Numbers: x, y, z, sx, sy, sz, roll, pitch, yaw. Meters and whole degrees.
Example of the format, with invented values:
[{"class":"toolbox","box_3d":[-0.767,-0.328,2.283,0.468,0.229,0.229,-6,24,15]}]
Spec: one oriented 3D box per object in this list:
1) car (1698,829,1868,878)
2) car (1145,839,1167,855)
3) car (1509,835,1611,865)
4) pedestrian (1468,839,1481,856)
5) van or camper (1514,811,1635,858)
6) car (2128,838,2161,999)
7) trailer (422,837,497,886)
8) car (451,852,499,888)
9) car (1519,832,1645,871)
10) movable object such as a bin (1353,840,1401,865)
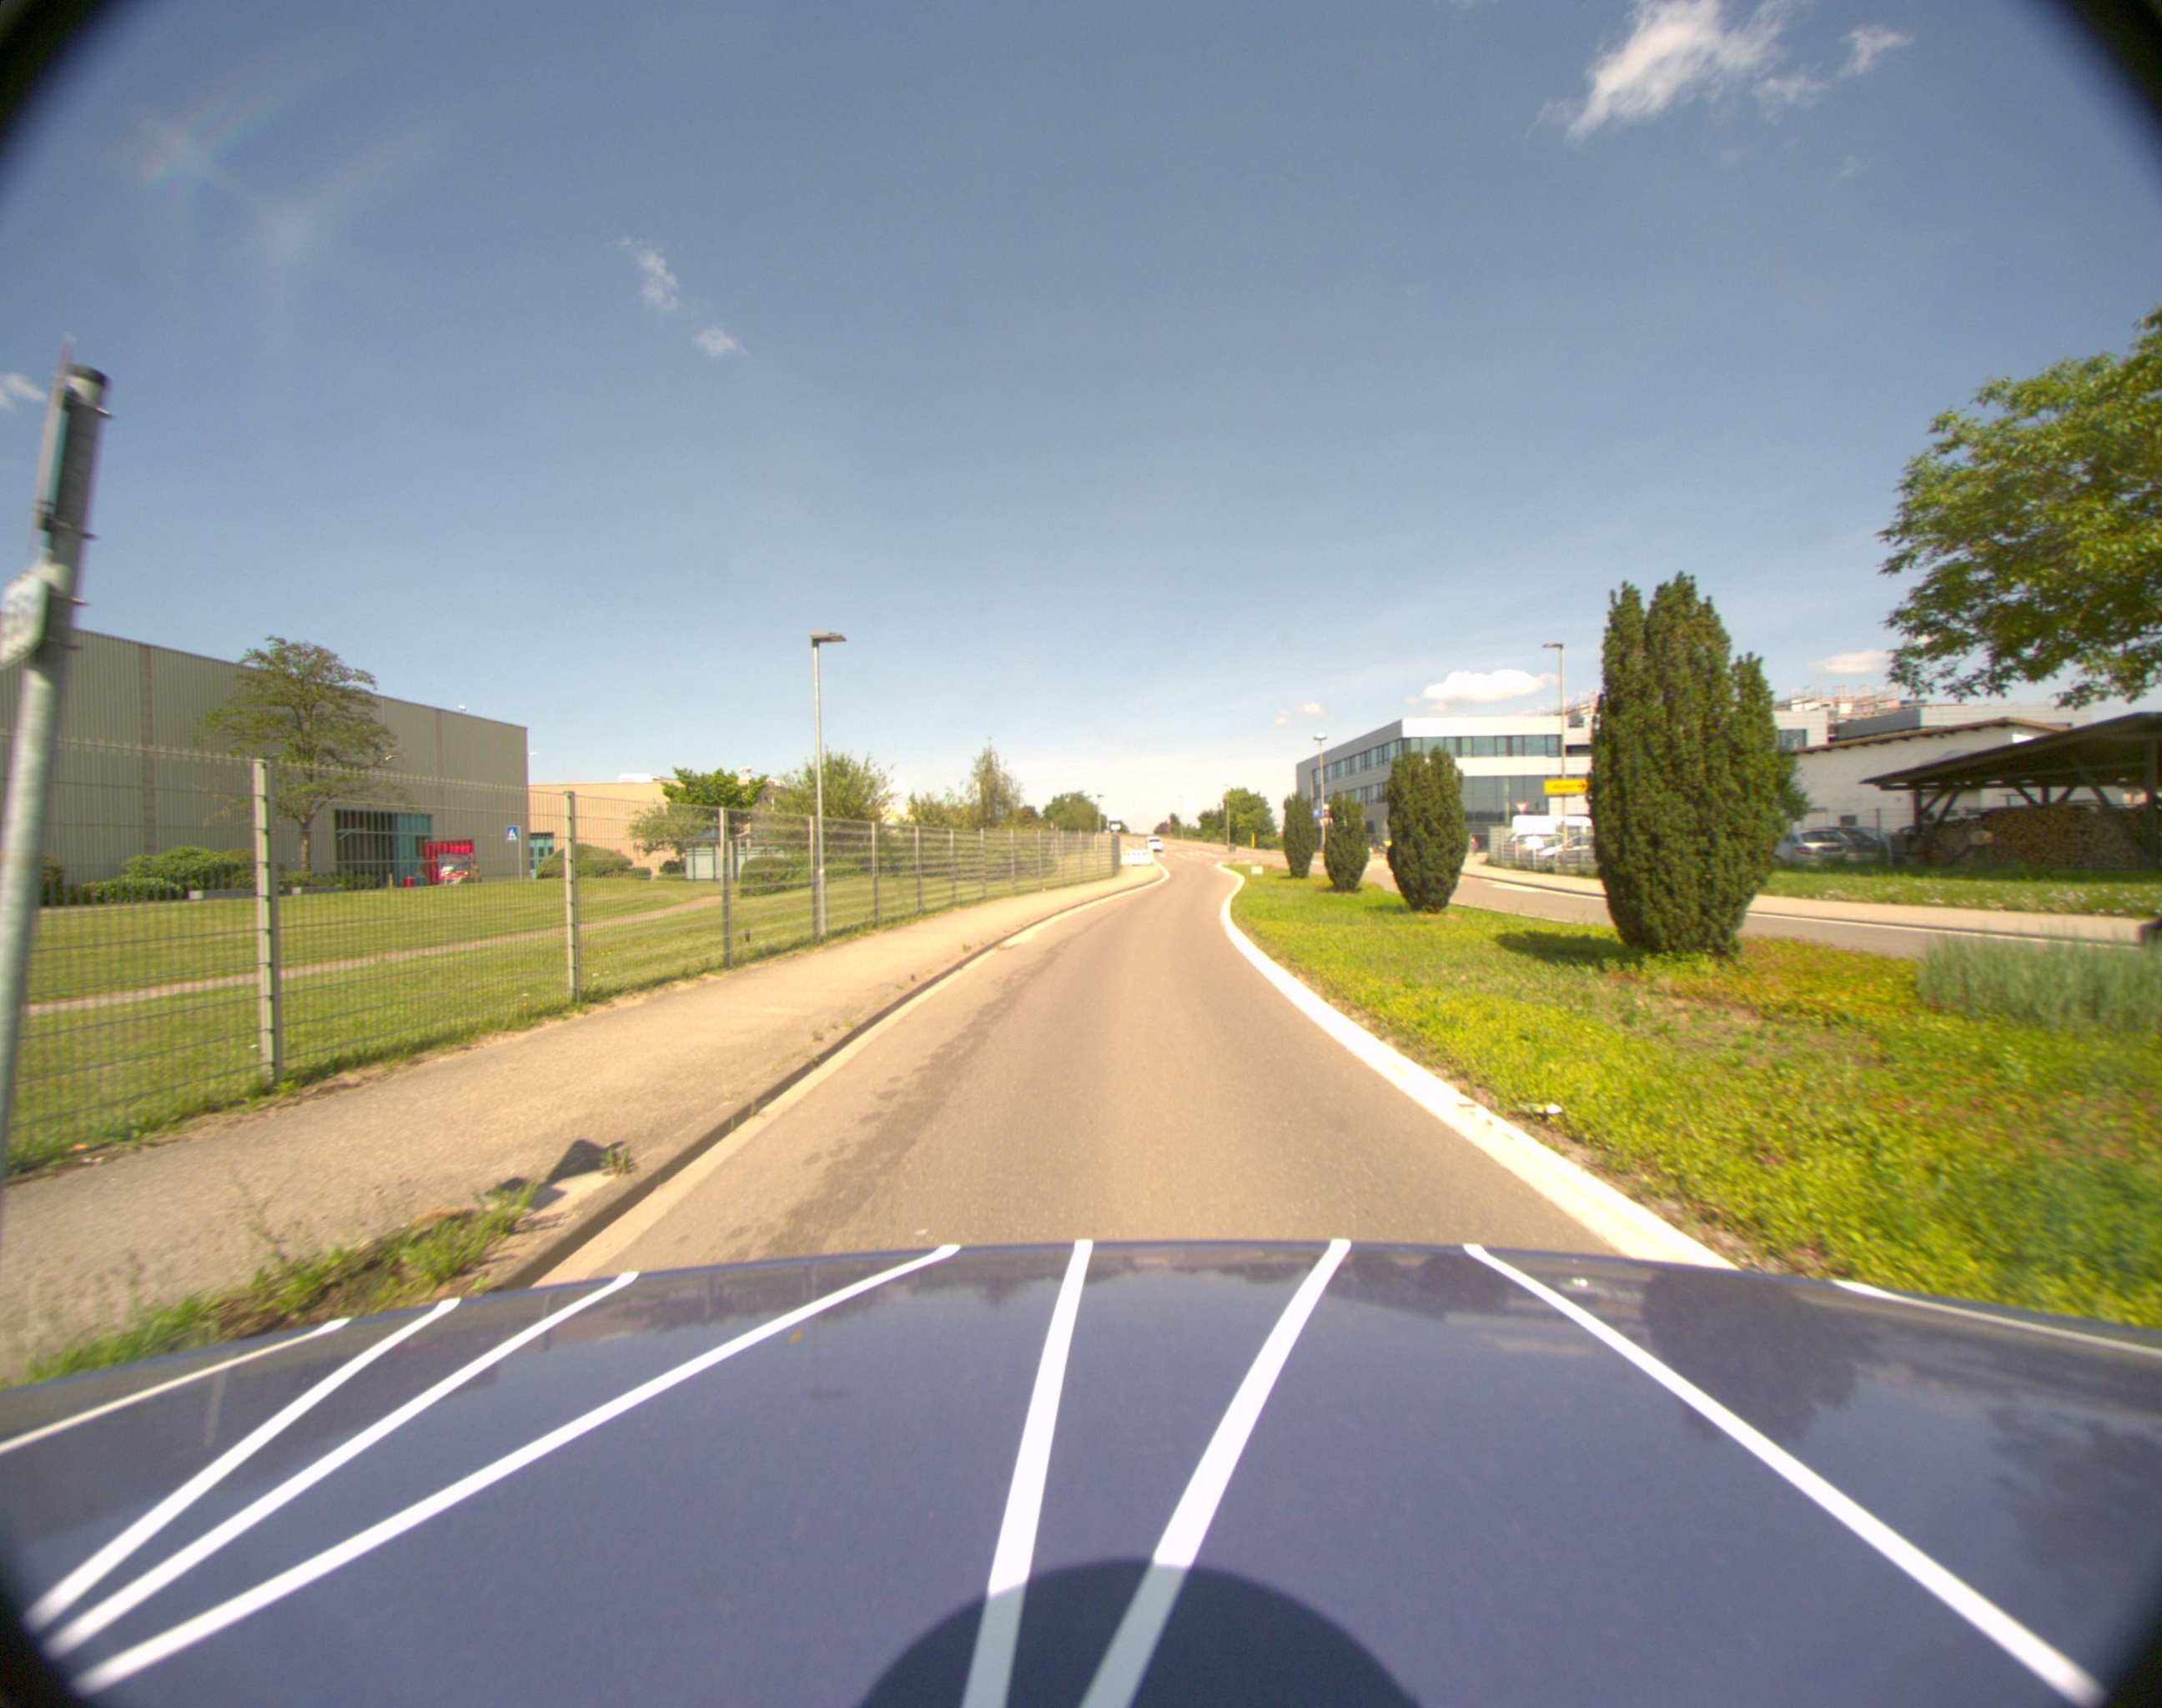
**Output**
[{"class":"car","box_3d":[22.798,-0.053,24.921,1.998,1.434,4.000,-1,1,3]},{"class":"car","box_3d":[9.323,-0.881,94.918,2.000,1.904,3.997,-1,1,-6]},{"class":"car","box_3d":[22.558,-0.179,35.959,3.881,1.313,1.694,-1,1,24]},{"class":"pedestrian","box_3d":[39.043,-0.643,75.400,0.782,1.718,0.774,-1,2,-1]},{"class":"van or camper","box_3d":[27.631,-1.070,42.819,5.573,2.483,2.082,-1,2,29]},{"class":"car","box_3d":[10.246,0.563,4.339,1.904,1.386,4.865,-1,1,2]},{"class":"trailer","box_3d":[-36.423,0.427,44.481,5.971,2.706,2.004,-1,1,37]},{"class":"car","box_3d":[-32.810,0.829,41.089,1.905,1.805,3.989,-2,1,-39]},{"class":"car","box_3d":[21.201,-0.117,32.288,3.994,1.510,2.001,-1,1,9]},{"class":"movable object such as a bin","box_3d":[30.424,-0.210,78.248,2.172,2.396,5.456,-2,1,-8]}]
